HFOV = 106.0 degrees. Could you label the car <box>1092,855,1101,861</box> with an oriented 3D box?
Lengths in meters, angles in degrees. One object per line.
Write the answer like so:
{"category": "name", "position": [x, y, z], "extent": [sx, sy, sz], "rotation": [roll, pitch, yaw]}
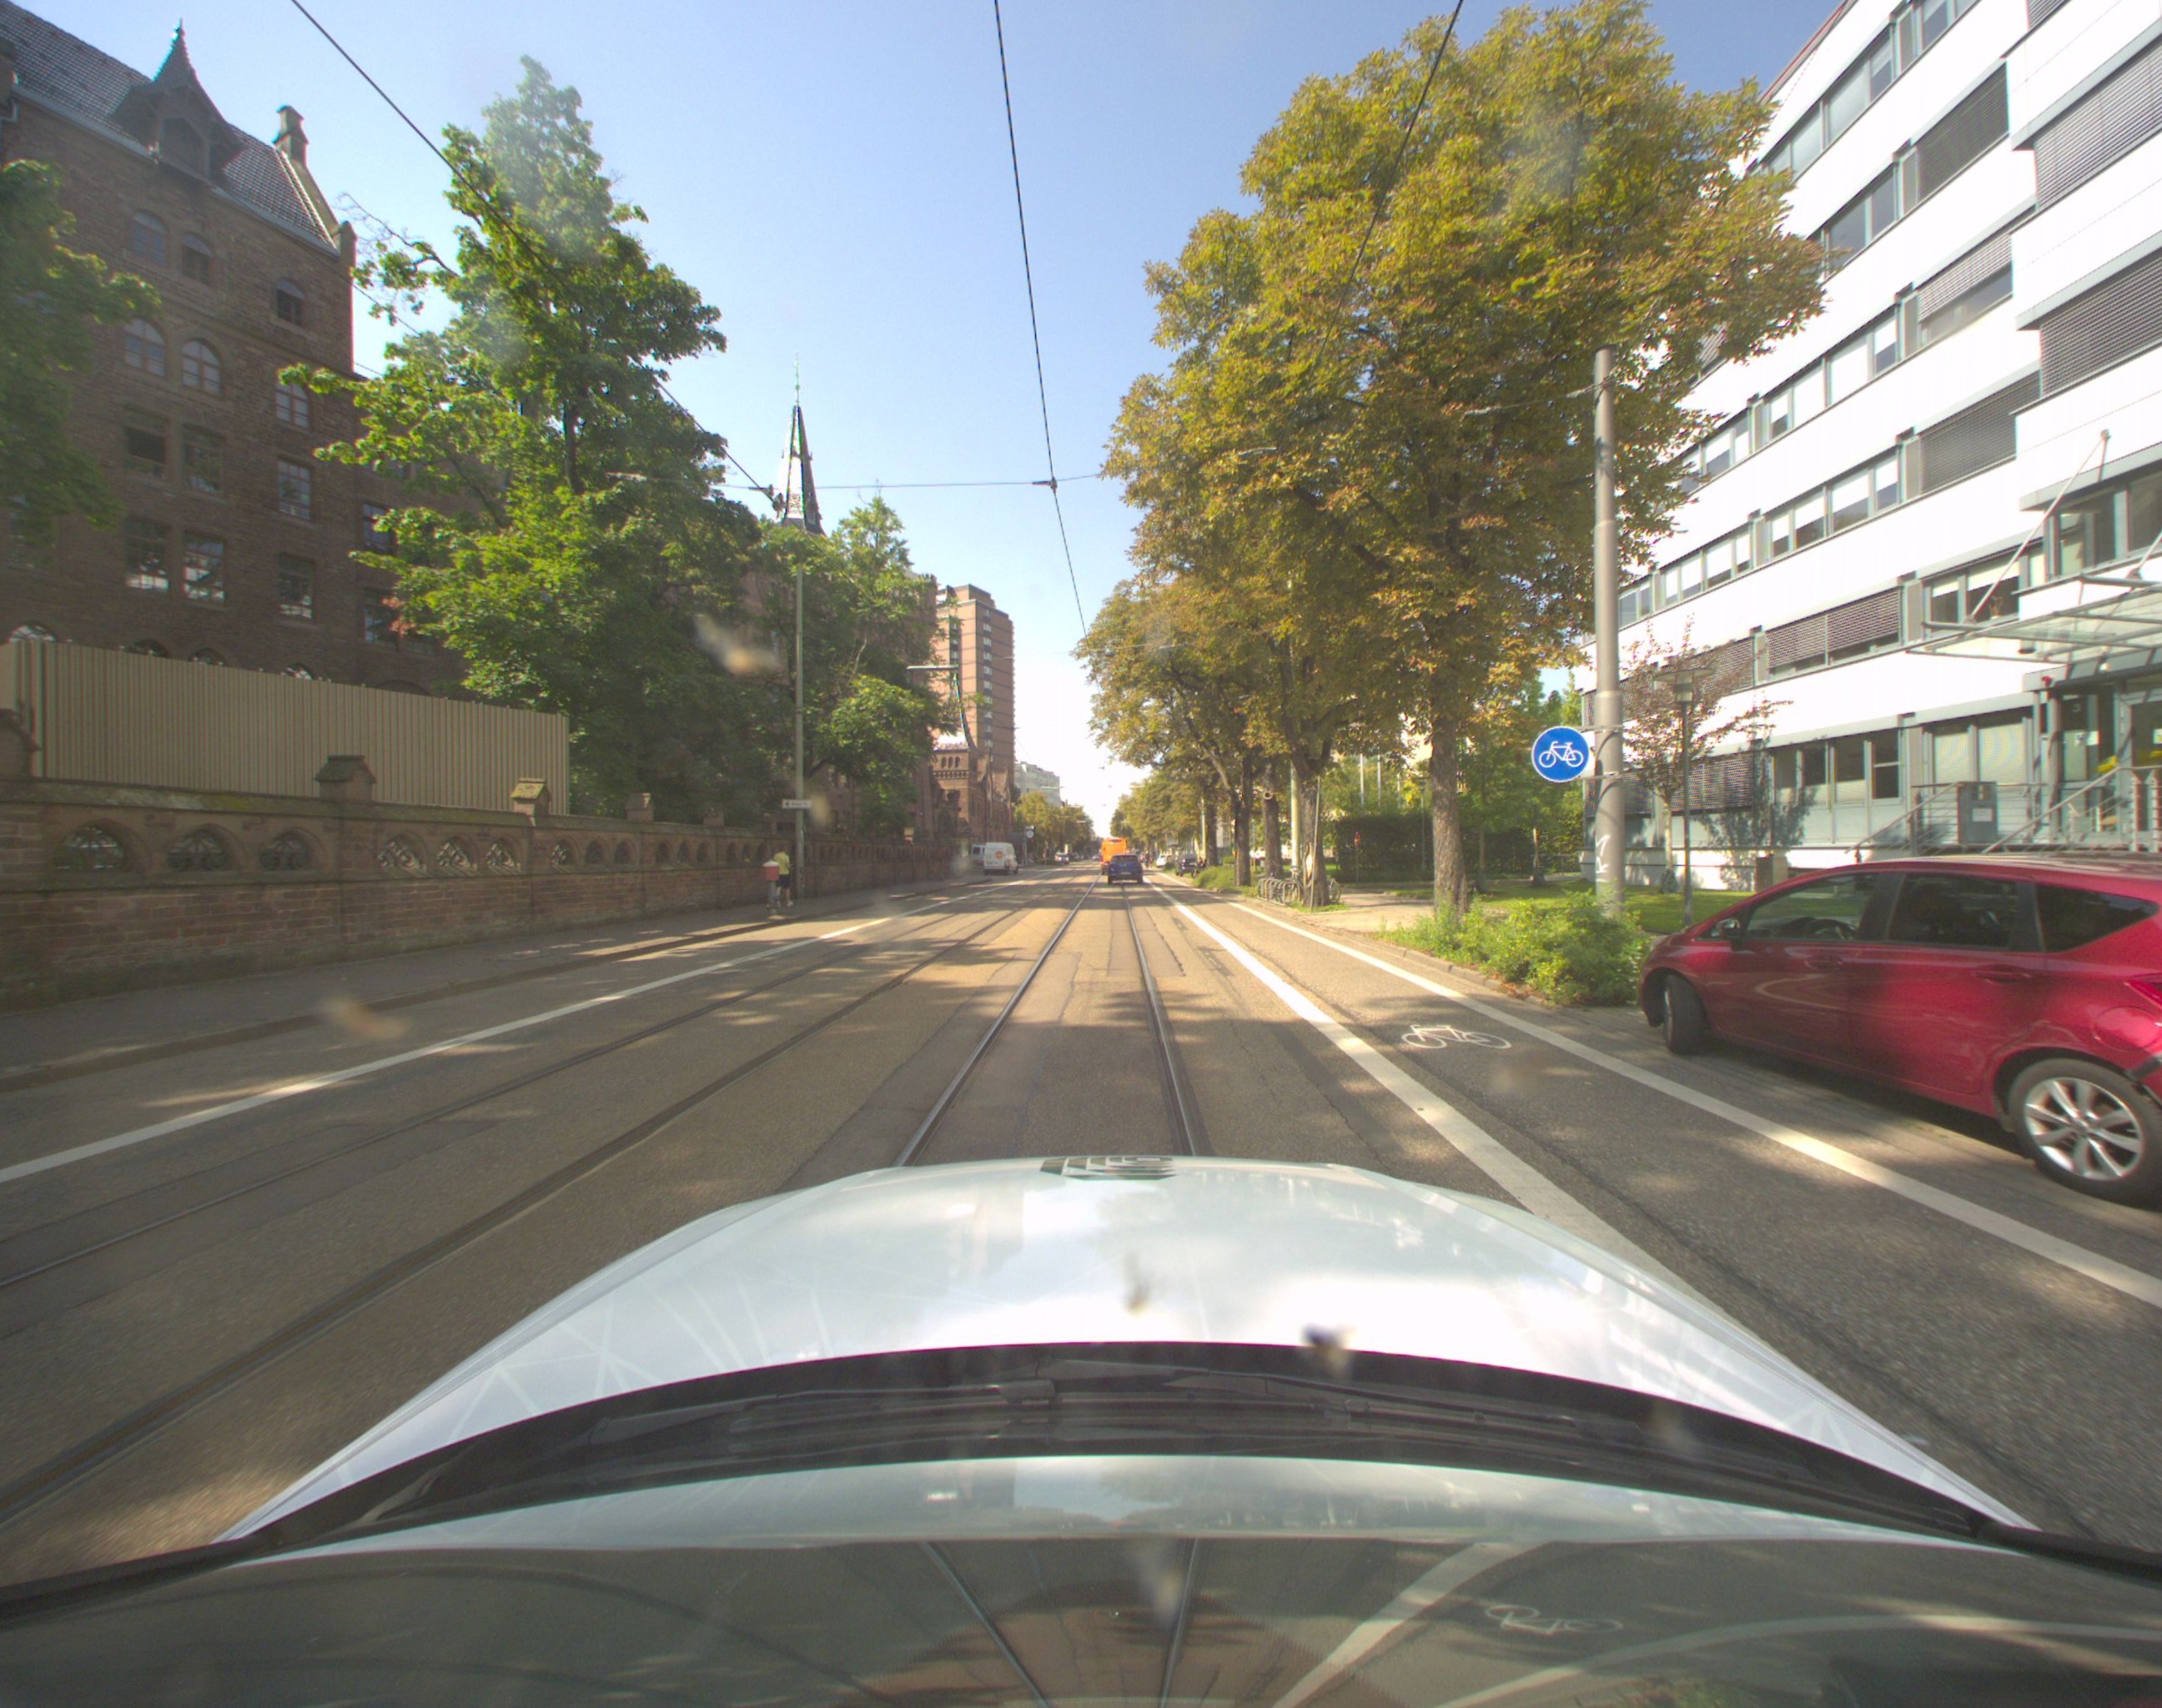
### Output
{"category": "car", "position": [3.636, 0.933, 191.735], "extent": [1.839, 1.492, 4.871], "rotation": [-2, 0, 3]}

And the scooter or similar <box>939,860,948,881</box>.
{"category": "scooter or similar", "position": [-7.846, 0.935, 46.484], "extent": [0.421, 1.178, 1.311], "rotation": [0, 0, -13]}

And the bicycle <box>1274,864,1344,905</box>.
{"category": "bicycle", "position": [6.314, 0.847, 22.609], "extent": [1.765, 1.050, 0.541], "rotation": [-2, 0, 1]}

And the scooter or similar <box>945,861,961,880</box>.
{"category": "scooter or similar", "position": [-7.993, 1.042, 50.794], "extent": [0.336, 1.178, 1.185], "rotation": [-1, 0, 27]}

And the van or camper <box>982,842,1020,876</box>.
{"category": "van or camper", "position": [-6.447, 0.391, 66.633], "extent": [2.103, 2.675, 5.961], "rotation": [-1, 0, 4]}

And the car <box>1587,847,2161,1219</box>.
{"category": "car", "position": [5.284, 0.716, 5.053], "extent": [1.749, 1.462, 4.277], "rotation": [-2, 0, 2]}

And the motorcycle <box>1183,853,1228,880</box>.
{"category": "motorcycle", "position": [7.064, 0.717, 46.241], "extent": [2.424, 1.516, 0.858], "rotation": [-1, -1, 40]}

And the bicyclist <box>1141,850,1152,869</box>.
{"category": "bicyclist", "position": [6.518, 0.524, 80.653], "extent": [1.028, 1.812, 1.017], "rotation": [-1, 0, 2]}

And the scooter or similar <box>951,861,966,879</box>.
{"category": "scooter or similar", "position": [-7.969, 1.050, 53.101], "extent": [0.336, 1.178, 1.185], "rotation": [-1, 0, 27]}

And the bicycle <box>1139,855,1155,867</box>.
{"category": "bicycle", "position": [6.483, 0.678, 80.659], "extent": [1.396, 1.134, 4.002], "rotation": [-1, 0, 2]}

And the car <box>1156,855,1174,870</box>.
{"category": "car", "position": [9.016, 0.902, 87.769], "extent": [1.652, 1.481, 4.220], "rotation": [-2, -1, 3]}

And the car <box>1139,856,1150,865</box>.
{"category": "car", "position": [10.972, 1.115, 140.887], "extent": [1.734, 1.668, 4.363], "rotation": [-1, 0, 1]}

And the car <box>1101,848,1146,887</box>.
{"category": "car", "position": [2.198, 0.666, 42.606], "extent": [2.127, 1.858, 5.571], "rotation": [-2, 0, 2]}

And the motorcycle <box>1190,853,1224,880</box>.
{"category": "motorcycle", "position": [7.401, 0.720, 47.933], "extent": [0.853, 1.516, 2.437], "rotation": [0, 0, -22]}

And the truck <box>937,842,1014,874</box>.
{"category": "truck", "position": [-9.212, 0.342, 71.571], "extent": [6.287, 2.538, 2.135], "rotation": [2, 1, 7]}

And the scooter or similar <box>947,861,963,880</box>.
{"category": "scooter or similar", "position": [-8.033, 1.046, 51.968], "extent": [0.336, 1.178, 1.185], "rotation": [-1, 0, 27]}

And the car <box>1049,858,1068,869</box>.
{"category": "car", "position": [-3.732, 1.552, 134.895], "extent": [1.755, 1.796, 3.967], "rotation": [0, 0, -25]}

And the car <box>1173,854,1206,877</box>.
{"category": "car", "position": [7.543, 0.786, 56.902], "extent": [1.749, 1.515, 4.610], "rotation": [-2, 0, 1]}

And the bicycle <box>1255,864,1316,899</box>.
{"category": "bicycle", "position": [6.471, 0.857, 25.765], "extent": [1.765, 1.050, 0.541], "rotation": [-2, 0, 1]}

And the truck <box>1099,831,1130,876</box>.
{"category": "truck", "position": [2.495, -0.014, 60.243], "extent": [2.127, 3.124, 6.088], "rotation": [-2, 0, 2]}

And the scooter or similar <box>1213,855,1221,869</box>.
{"category": "scooter or similar", "position": [12.122, 0.725, 72.584], "extent": [0.553, 1.259, 1.820], "rotation": [-1, 0, 5]}

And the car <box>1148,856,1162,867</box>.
{"category": "car", "position": [9.639, 0.999, 106.150], "extent": [1.652, 1.408, 4.220], "rotation": [-2, -1, 3]}

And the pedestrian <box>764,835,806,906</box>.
{"category": "pedestrian", "position": [-8.665, 0.470, 23.857], "extent": [0.861, 2.014, 0.983], "rotation": [0, 0, 0]}

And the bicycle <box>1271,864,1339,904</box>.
{"category": "bicycle", "position": [6.386, 0.849, 23.286], "extent": [1.765, 1.050, 0.541], "rotation": [-2, 0, 1]}
